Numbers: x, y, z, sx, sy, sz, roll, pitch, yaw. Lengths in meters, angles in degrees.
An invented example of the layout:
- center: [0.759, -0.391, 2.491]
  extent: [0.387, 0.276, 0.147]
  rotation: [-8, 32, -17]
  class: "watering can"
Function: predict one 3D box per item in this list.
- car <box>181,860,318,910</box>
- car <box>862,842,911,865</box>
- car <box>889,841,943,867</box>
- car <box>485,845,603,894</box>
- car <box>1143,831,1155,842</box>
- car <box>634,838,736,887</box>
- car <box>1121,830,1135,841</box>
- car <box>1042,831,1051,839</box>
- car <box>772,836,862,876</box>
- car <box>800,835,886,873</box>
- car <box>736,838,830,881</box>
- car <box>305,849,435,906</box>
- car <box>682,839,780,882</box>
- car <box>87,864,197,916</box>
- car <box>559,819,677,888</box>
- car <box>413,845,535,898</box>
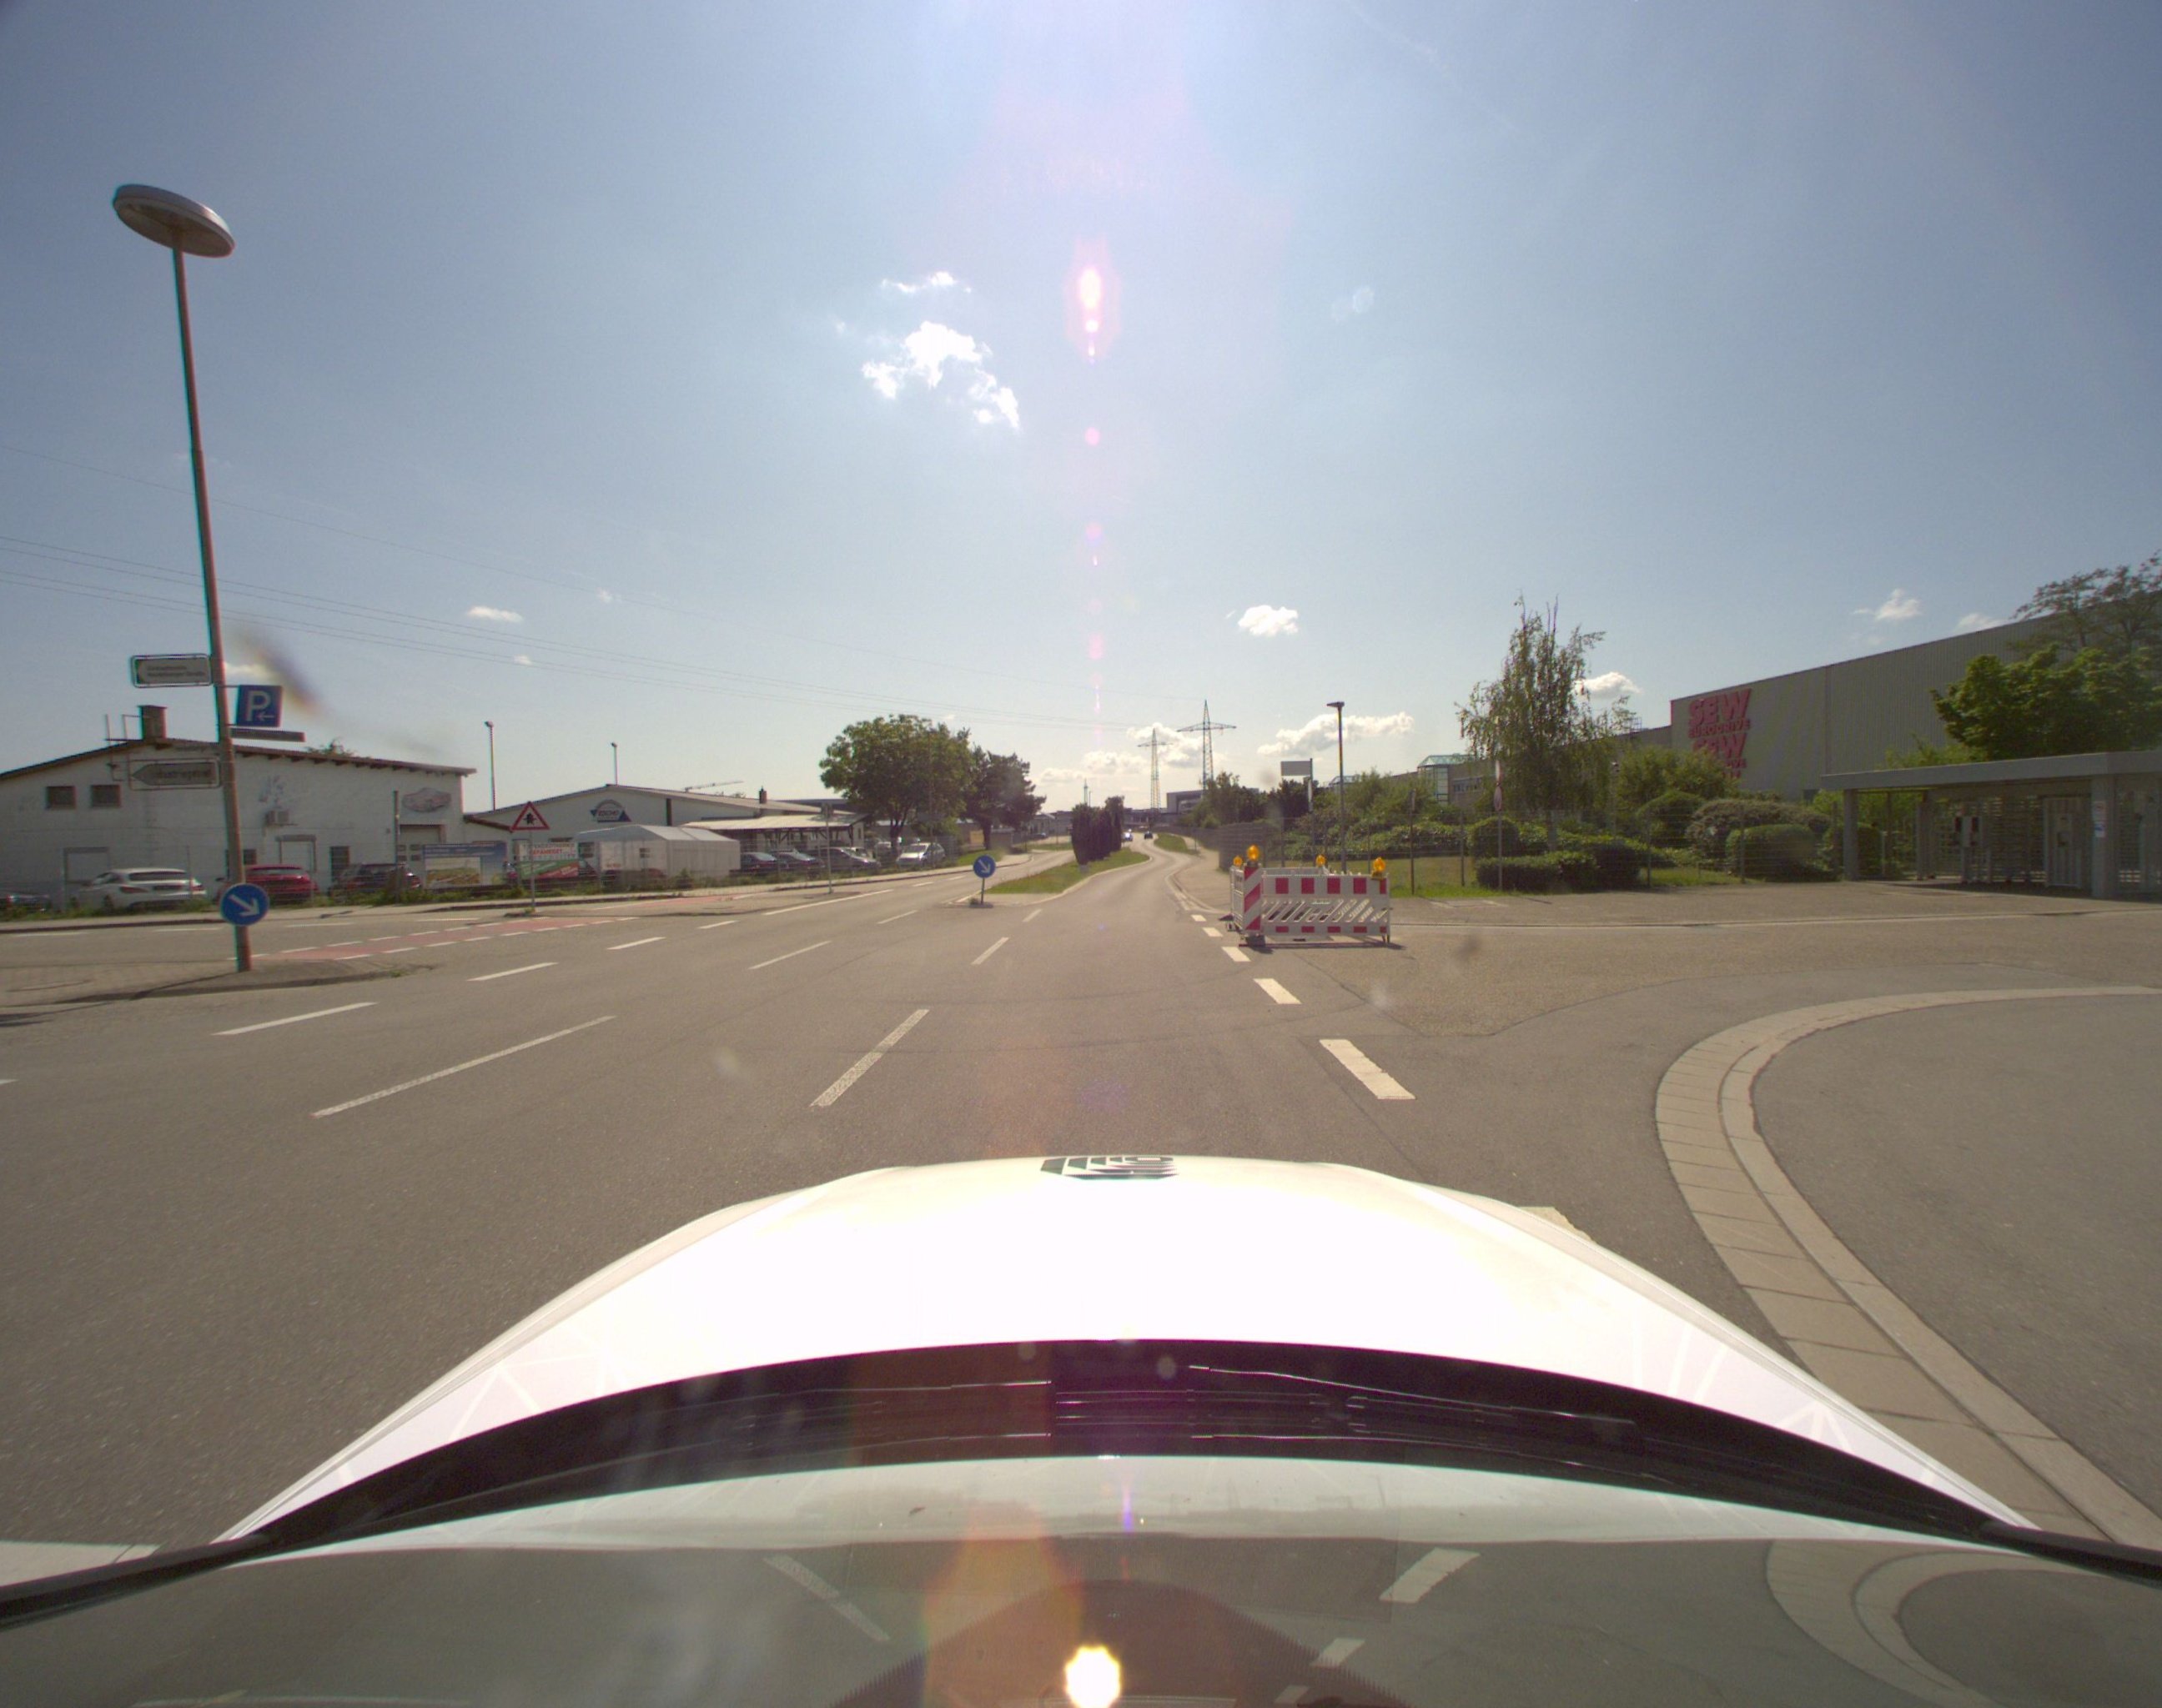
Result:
- center: [-25.319, 0.906, 24.789]
  extent: [3.949, 1.376, 2.013]
  rotation: [-1, 0, 30]
  class: "car"
- center: [-16.935, -0.051, 70.940]
  extent: [3.988, 1.850, 1.828]
  rotation: [-2, 1, -11]
  class: "car"
- center: [-10.174, -0.033, 50.490]
  extent: [1.815, 1.517, 3.603]
  rotation: [-1, 1, 15]
  class: "car"
- center: [-19.954, 0.520, 30.266]
  extent: [3.949, 1.653, 2.013]
  rotation: [0, 2, 29]
  class: "car"
- center: [14.240, -3.645, 169.831]
  extent: [2.263, 1.947, 4.667]
  rotation: [2, -1, 2]
  class: "car"
- center: [-16.745, 0.307, 34.420]
  extent: [3.949, 1.903, 2.013]
  rotation: [0, 2, 31]
  class: "car"
- center: [8.790, -3.472, 152.608]
  extent: [2.481, 2.013, 4.668]
  rotation: [-1, 2, 2]
  class: "car"
- center: [-9.277, -5.120, 221.304]
  extent: [1.985, 2.013, 4.004]
  rotation: [-1, 1, 3]
  class: "car"
- center: [-13.315, 0.094, 41.095]
  extent: [3.951, 1.903, 2.012]
  rotation: [0, 2, 23]
  class: "car"
- center: [-12.712, -0.009, 43.590]
  extent: [3.953, 1.903, 2.011]
  rotation: [0, 2, 21]
  class: "car"
- center: [-14.285, 0.222, 39.040]
  extent: [3.950, 1.903, 2.012]
  rotation: [0, 2, 27]
  class: "car"
- center: [-23.253, 0.709, 26.615]
  extent: [3.949, 1.653, 2.013]
  rotation: [0, 2, 31]
  class: "car"
- center: [-15.527, 0.245, 36.120]
  extent: [3.949, 1.780, 2.013]
  rotation: [0, 2, 31]
  class: "car"
- center: [-27.480, 1.012, 23.805]
  extent: [3.881, 1.338, 1.736]
  rotation: [-1, 0, 35]
  class: "car"
- center: [-18.388, 0.013, 32.330]
  extent: [4.310, 2.608, 2.012]
  rotation: [-1, 0, 28]
  class: "car"
- center: [-21.237, 0.553, 28.490]
  extent: [3.949, 1.679, 2.013]
  rotation: [0, 2, 31]
  class: "car"
